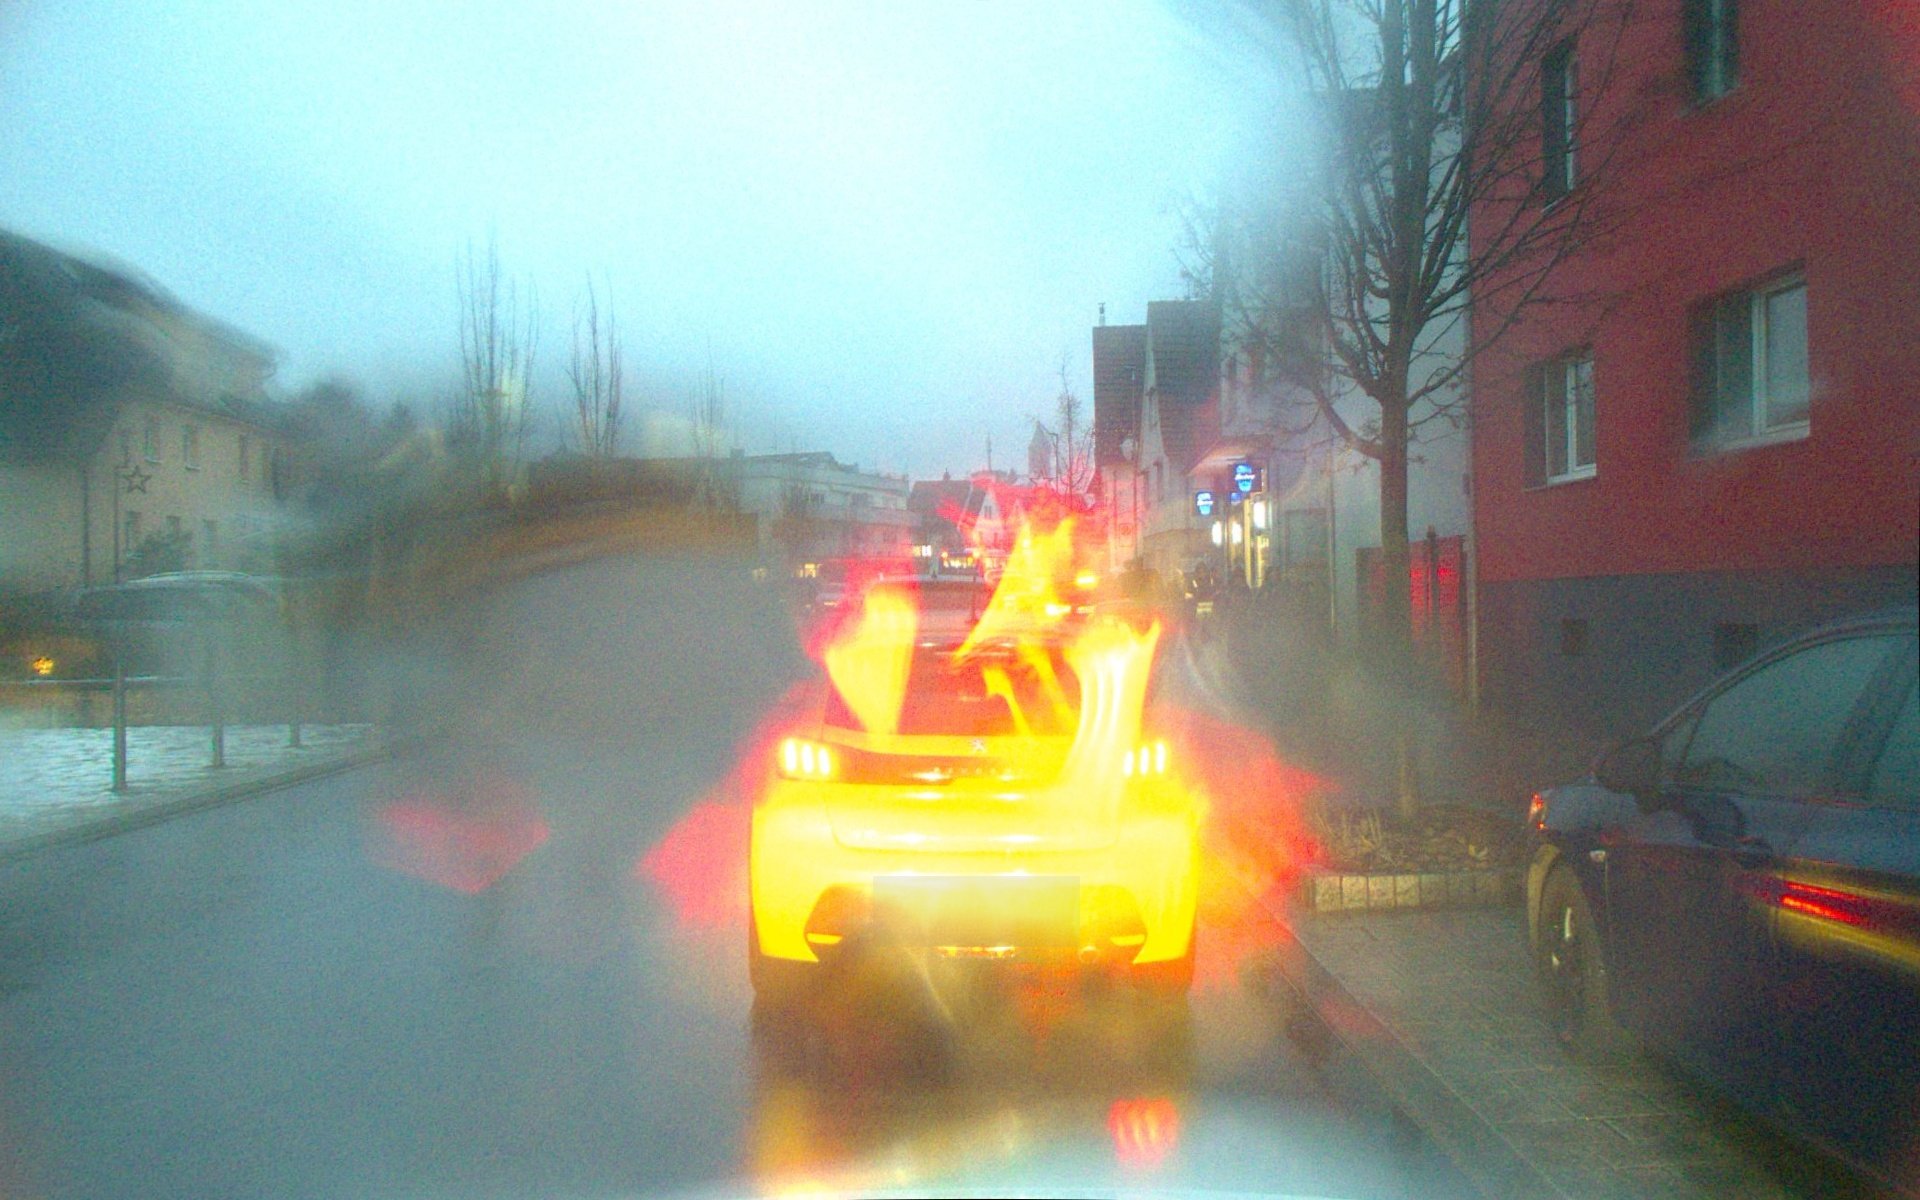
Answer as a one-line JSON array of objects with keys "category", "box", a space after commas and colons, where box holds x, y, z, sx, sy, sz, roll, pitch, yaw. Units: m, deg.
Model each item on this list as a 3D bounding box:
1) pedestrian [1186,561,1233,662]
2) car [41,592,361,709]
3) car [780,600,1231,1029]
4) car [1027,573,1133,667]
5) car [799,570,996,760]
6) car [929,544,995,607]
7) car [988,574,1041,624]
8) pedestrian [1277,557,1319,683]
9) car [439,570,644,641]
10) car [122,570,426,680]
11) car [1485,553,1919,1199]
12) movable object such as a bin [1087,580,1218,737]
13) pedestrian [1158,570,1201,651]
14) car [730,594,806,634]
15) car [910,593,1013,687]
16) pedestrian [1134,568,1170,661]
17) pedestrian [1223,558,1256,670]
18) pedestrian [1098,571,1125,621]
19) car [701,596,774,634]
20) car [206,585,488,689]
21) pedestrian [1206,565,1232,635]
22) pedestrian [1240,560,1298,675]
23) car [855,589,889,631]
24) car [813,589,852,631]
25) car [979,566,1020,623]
[{"category": "pedestrian", "box": [4.439, 0.190, 29.412, 0.697, 1.745, 1.035, -2, 1, 13]}, {"category": "car", "box": [-9.756, 0.628, 21.440, 3.375, 1.396, 1.600, -1, 0, -2]}, {"category": "car", "box": [0.141, 0.738, 7.183, 1.531, 1.437, 3.017, 1, 0, -1]}, {"category": "car", "box": [2.336, 0.365, 33.172, 1.700, 1.722, 4.385, -1, 0, -1]}, {"category": "car", "box": [-0.518, 0.563, 16.498, 1.730, 1.657, 3.586, 1, 0, 1]}, {"category": "car", "box": [0.160, -1.276, 90.282, 3.123, 3.085, 6.307, 1, -2, 4]}, {"category": "car", "box": [2.118, -0.036, 65.188, 1.957, 1.897, 4.082, 0, 0, 0]}, {"category": "pedestrian", "box": [4.619, 0.280, 22.619, 0.517, 1.682, 0.954, 0, -2, 9]}, {"category": "car", "box": [-10.173, 0.141, 40.488, 4.533, 1.697, 1.999, 0, 0, -3]}, {"category": "car", "box": [-9.973, 0.353, 24.195, 3.713, 1.549, 1.716, 0, 0, 6]}, {"category": "car", "box": [2.753, 0.647, 3.927, 1.693, 1.490, 4.200, -3, 1, 1]}, {"category": "movable object such as a bin", "box": [1.929, 0.562, 16.813, 1.106, 1.445, 1.418, -4, 1, 1]}, {"category": "pedestrian", "box": [4.560, 0.205, 34.414, 0.608, 1.655, 0.903, -1, 1, -14]}, {"category": "car", "box": [-10.971, 0.818, 94.466, 4.310, 2.204, 1.987, -1, -3, 44]}, {"category": "car", "box": [0.000, 0.586, 26.042, 1.510, 1.355, 3.311, 1, 0, -1]}, {"category": "pedestrian", "box": [3.676, 0.278, 31.702, 0.561, 1.729, 0.653, -2, 0, 1]}, {"category": "pedestrian", "box": [4.657, 0.218, 27.606, 0.517, 1.832, 0.865, 0, 1, 9]}, {"category": "pedestrian", "box": [4.707, -0.137, 51.406, 0.608, 1.542, 0.731, -1, 1, -14]}, {"category": "car", "box": [-12.270, 0.837, 91.057, 4.097, 2.011, 1.810, -1, -3, 44]}, {"category": "car", "box": [-9.962, 0.585, 27.035, 4.008, 1.636, 1.588, 0, 0, 2]}, {"category": "pedestrian", "box": [6.630, 0.003, 42.323, 0.605, 1.757, 0.502, 0, -2, 11]}, {"category": "pedestrian", "box": [4.757, 0.264, 25.505, 0.731, 1.708, 1.052, -2, -1, 5]}, {"category": "car", "box": [-5.066, 0.596, 95.552, 1.881, 2.254, 3.972, 1, -2, -3]}, {"category": "car", "box": [-6.743, 0.565, 87.757, 1.881, 2.063, 3.972, 1, -2, -3]}, {"category": "car", "box": [1.802, -0.223, 77.479, 1.832, 2.512, 4.443, 1, -2, 0]}]
